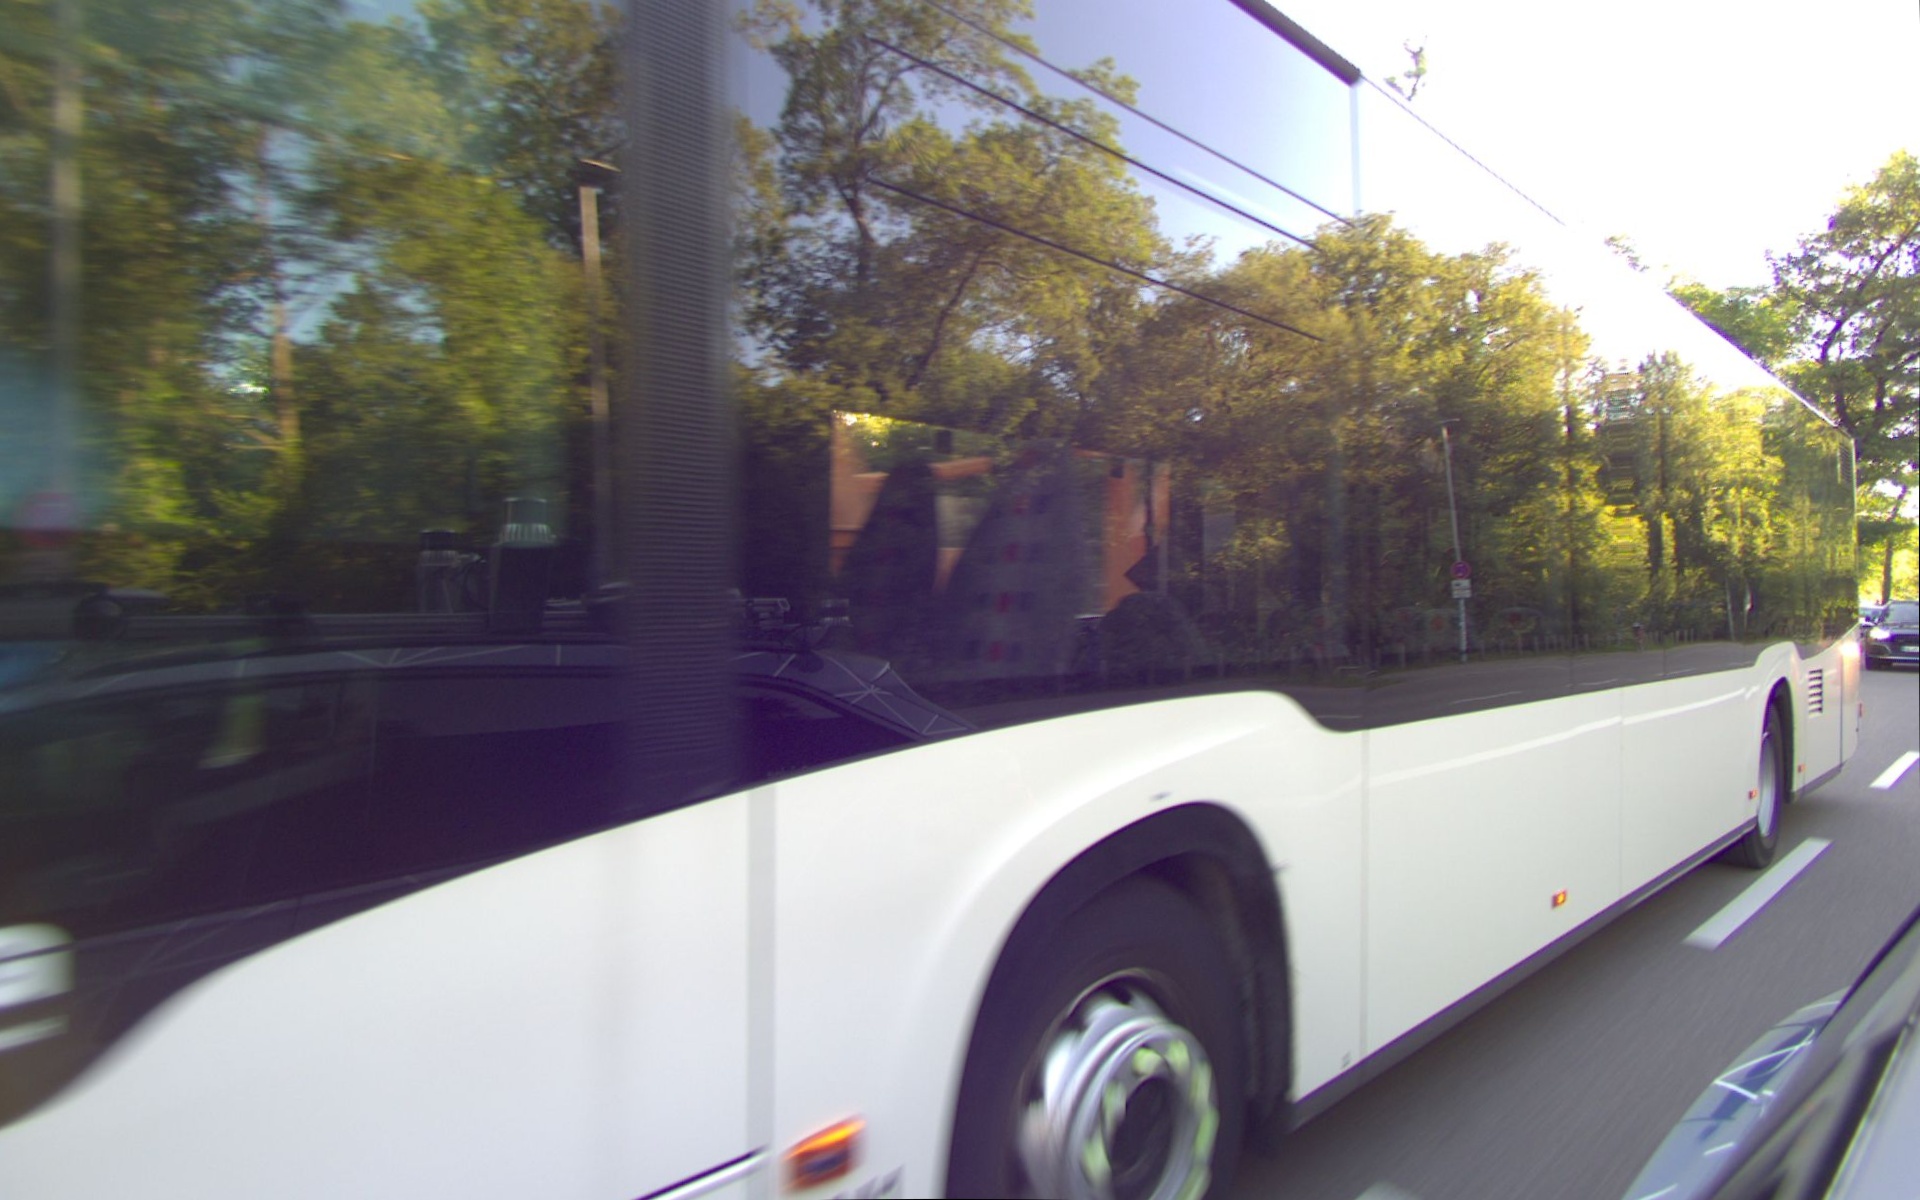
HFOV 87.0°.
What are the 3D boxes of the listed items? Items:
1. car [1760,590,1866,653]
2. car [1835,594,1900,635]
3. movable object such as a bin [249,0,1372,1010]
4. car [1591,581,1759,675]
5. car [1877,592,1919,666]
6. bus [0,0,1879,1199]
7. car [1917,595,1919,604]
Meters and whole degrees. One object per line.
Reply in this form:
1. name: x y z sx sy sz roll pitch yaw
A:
1. car: 24.709 0.554 29.286 1.995 1.576 4.033 5 4 44
2. car: 38.087 0.567 42.455 4.102 1.529 1.729 0 4 -45
3. movable object such as a bin: -0.115 -0.400 6.964 2.760 3.412 7.477 2 1 45
4. car: 13.797 0.455 19.431 4.385 1.594 1.840 0 1 -44
5. car: 22.794 0.636 23.570 3.934 1.638 1.858 0 0 -44
6. bus: 2.007 -0.239 5.001 12.071 3.262 2.708 0 1 -43
7. car: 166.066 -0.131 174.198 1.805 1.564 4.026 2 2 43
